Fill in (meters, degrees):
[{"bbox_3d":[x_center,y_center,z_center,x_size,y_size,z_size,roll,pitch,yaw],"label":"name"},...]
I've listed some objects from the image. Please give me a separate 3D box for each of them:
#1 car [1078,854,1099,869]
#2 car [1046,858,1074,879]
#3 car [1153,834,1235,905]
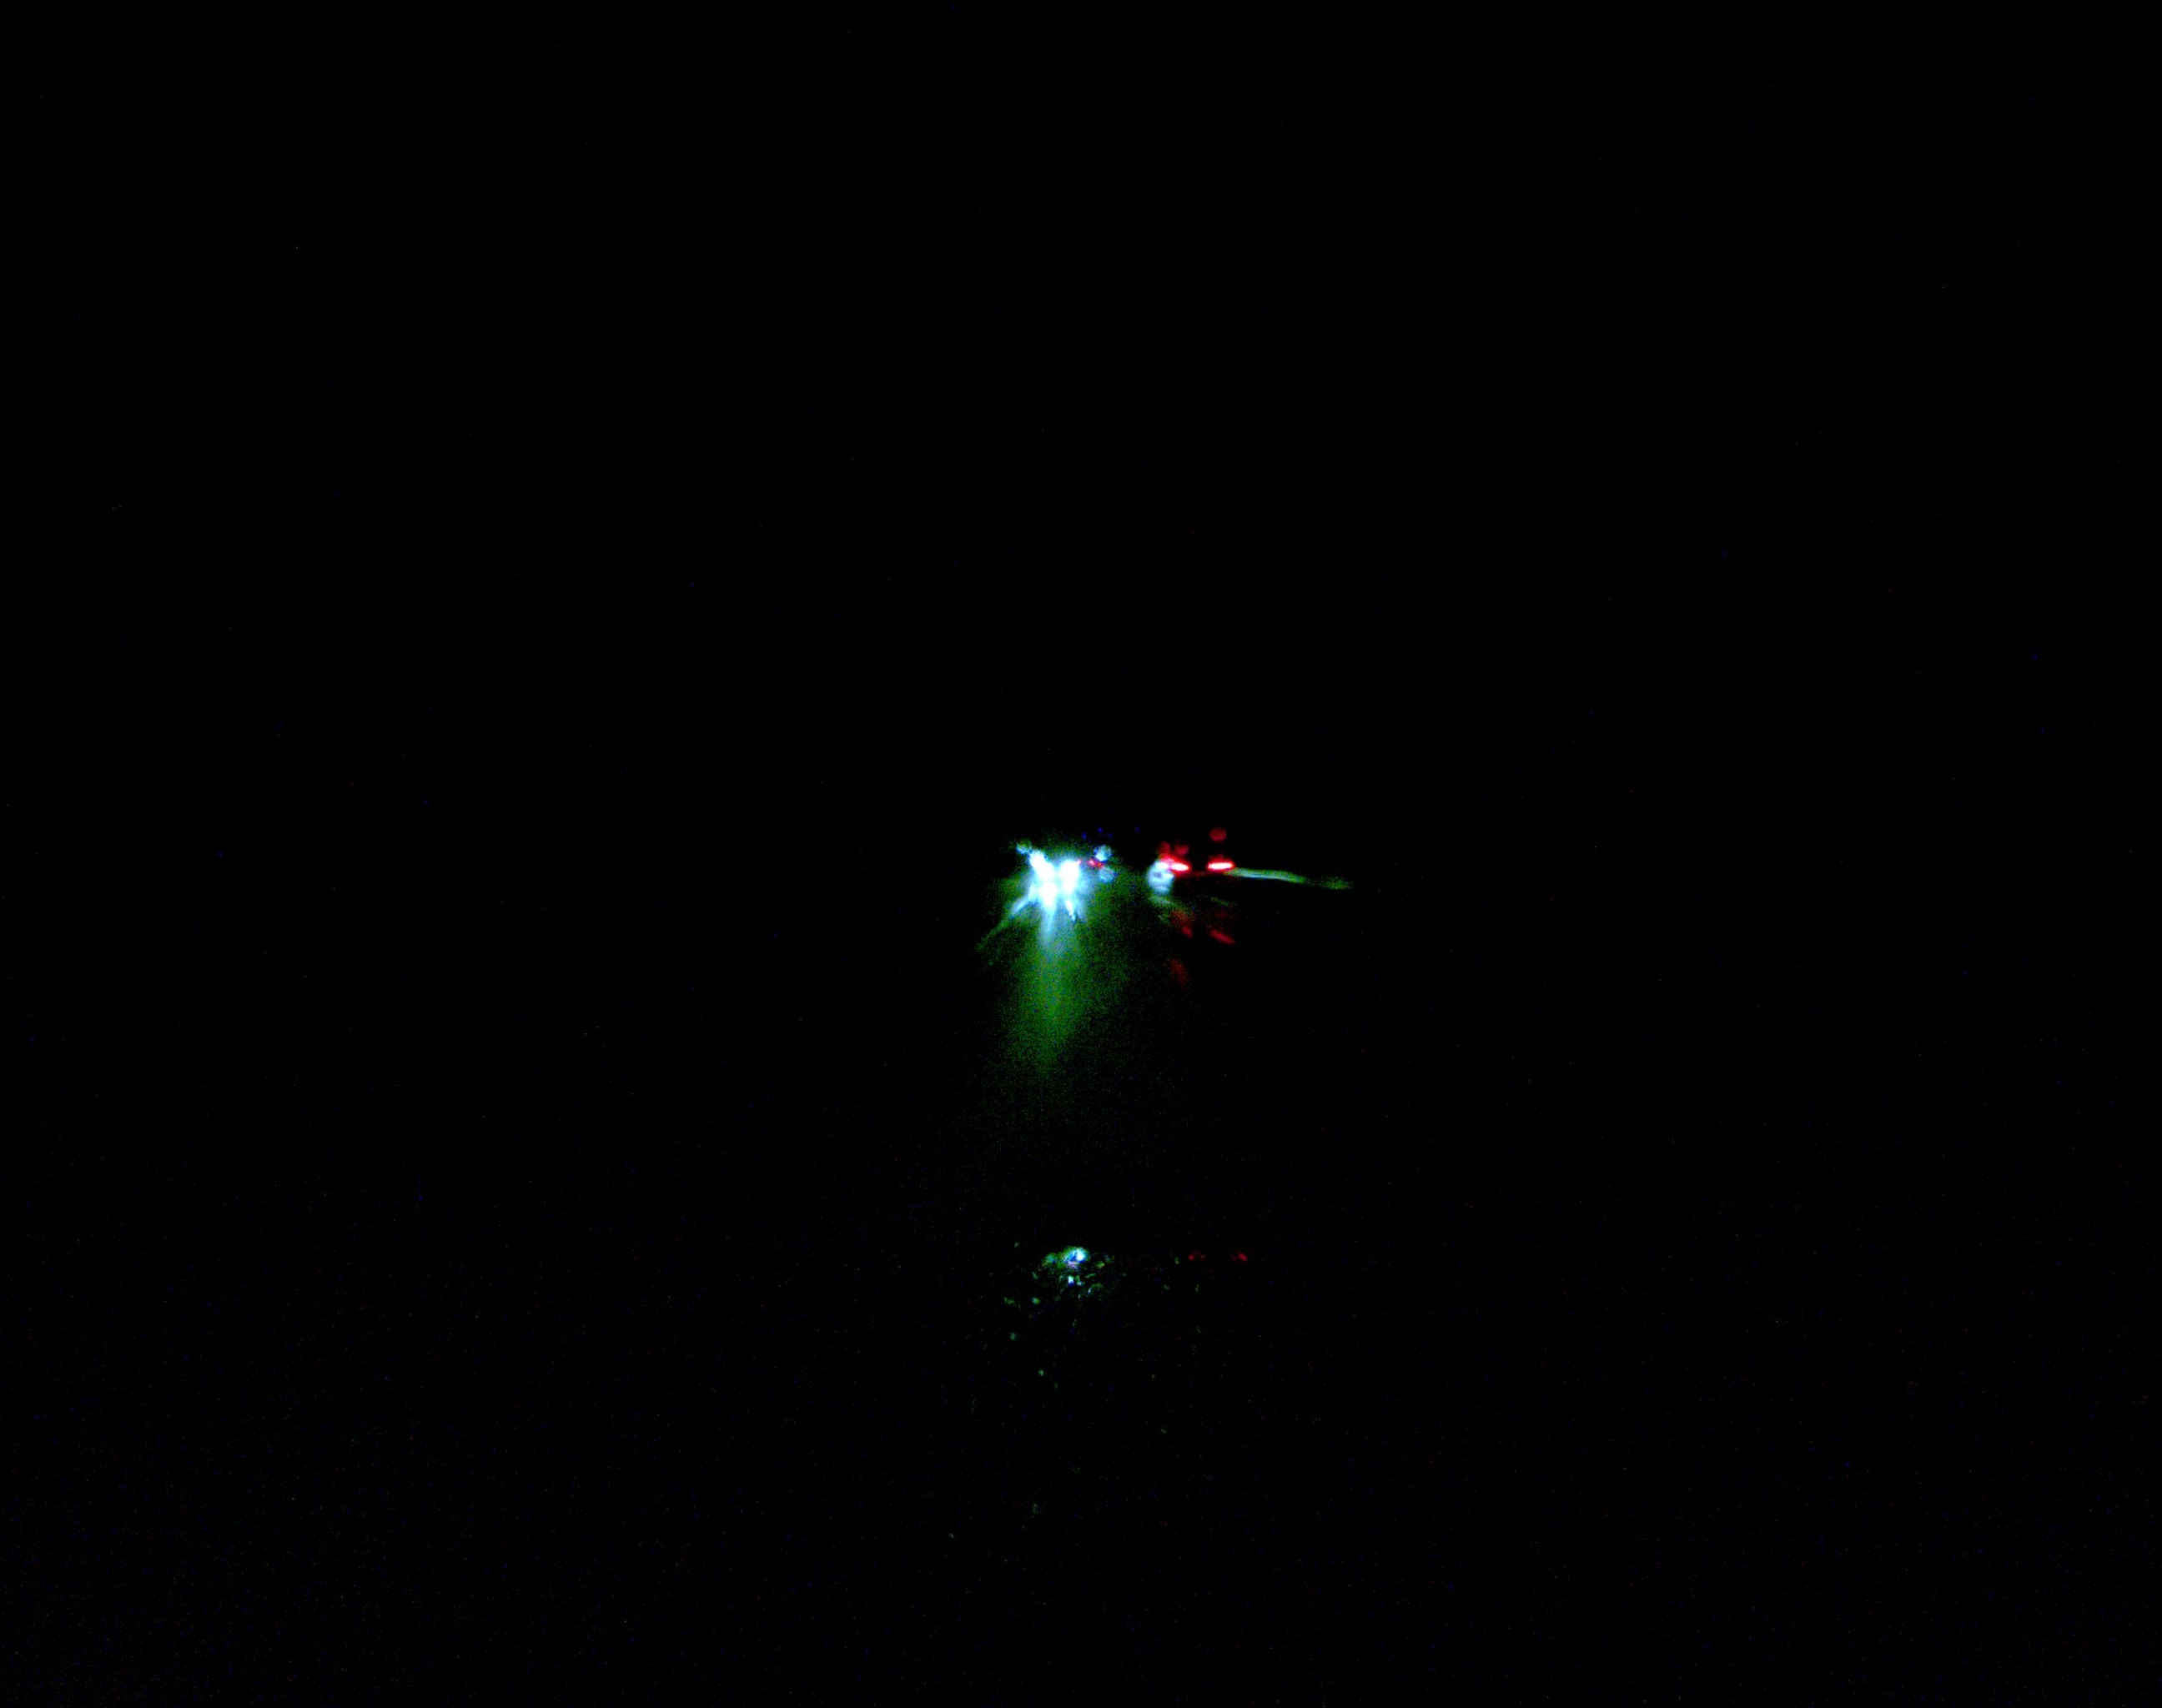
[{"bbox_3d":[0.798,0.781,80.193,1.999,1.382,3.845,-4,0,-2],"label":"car"},{"bbox_3d":[-1.608,1.084,57.344,1.777,1.444,4.134,-4,0,-4],"label":"car"},{"bbox_3d":[3.408,0.436,23.678,1.859,1.929,3.999,-3,0,0],"label":"car"}]
